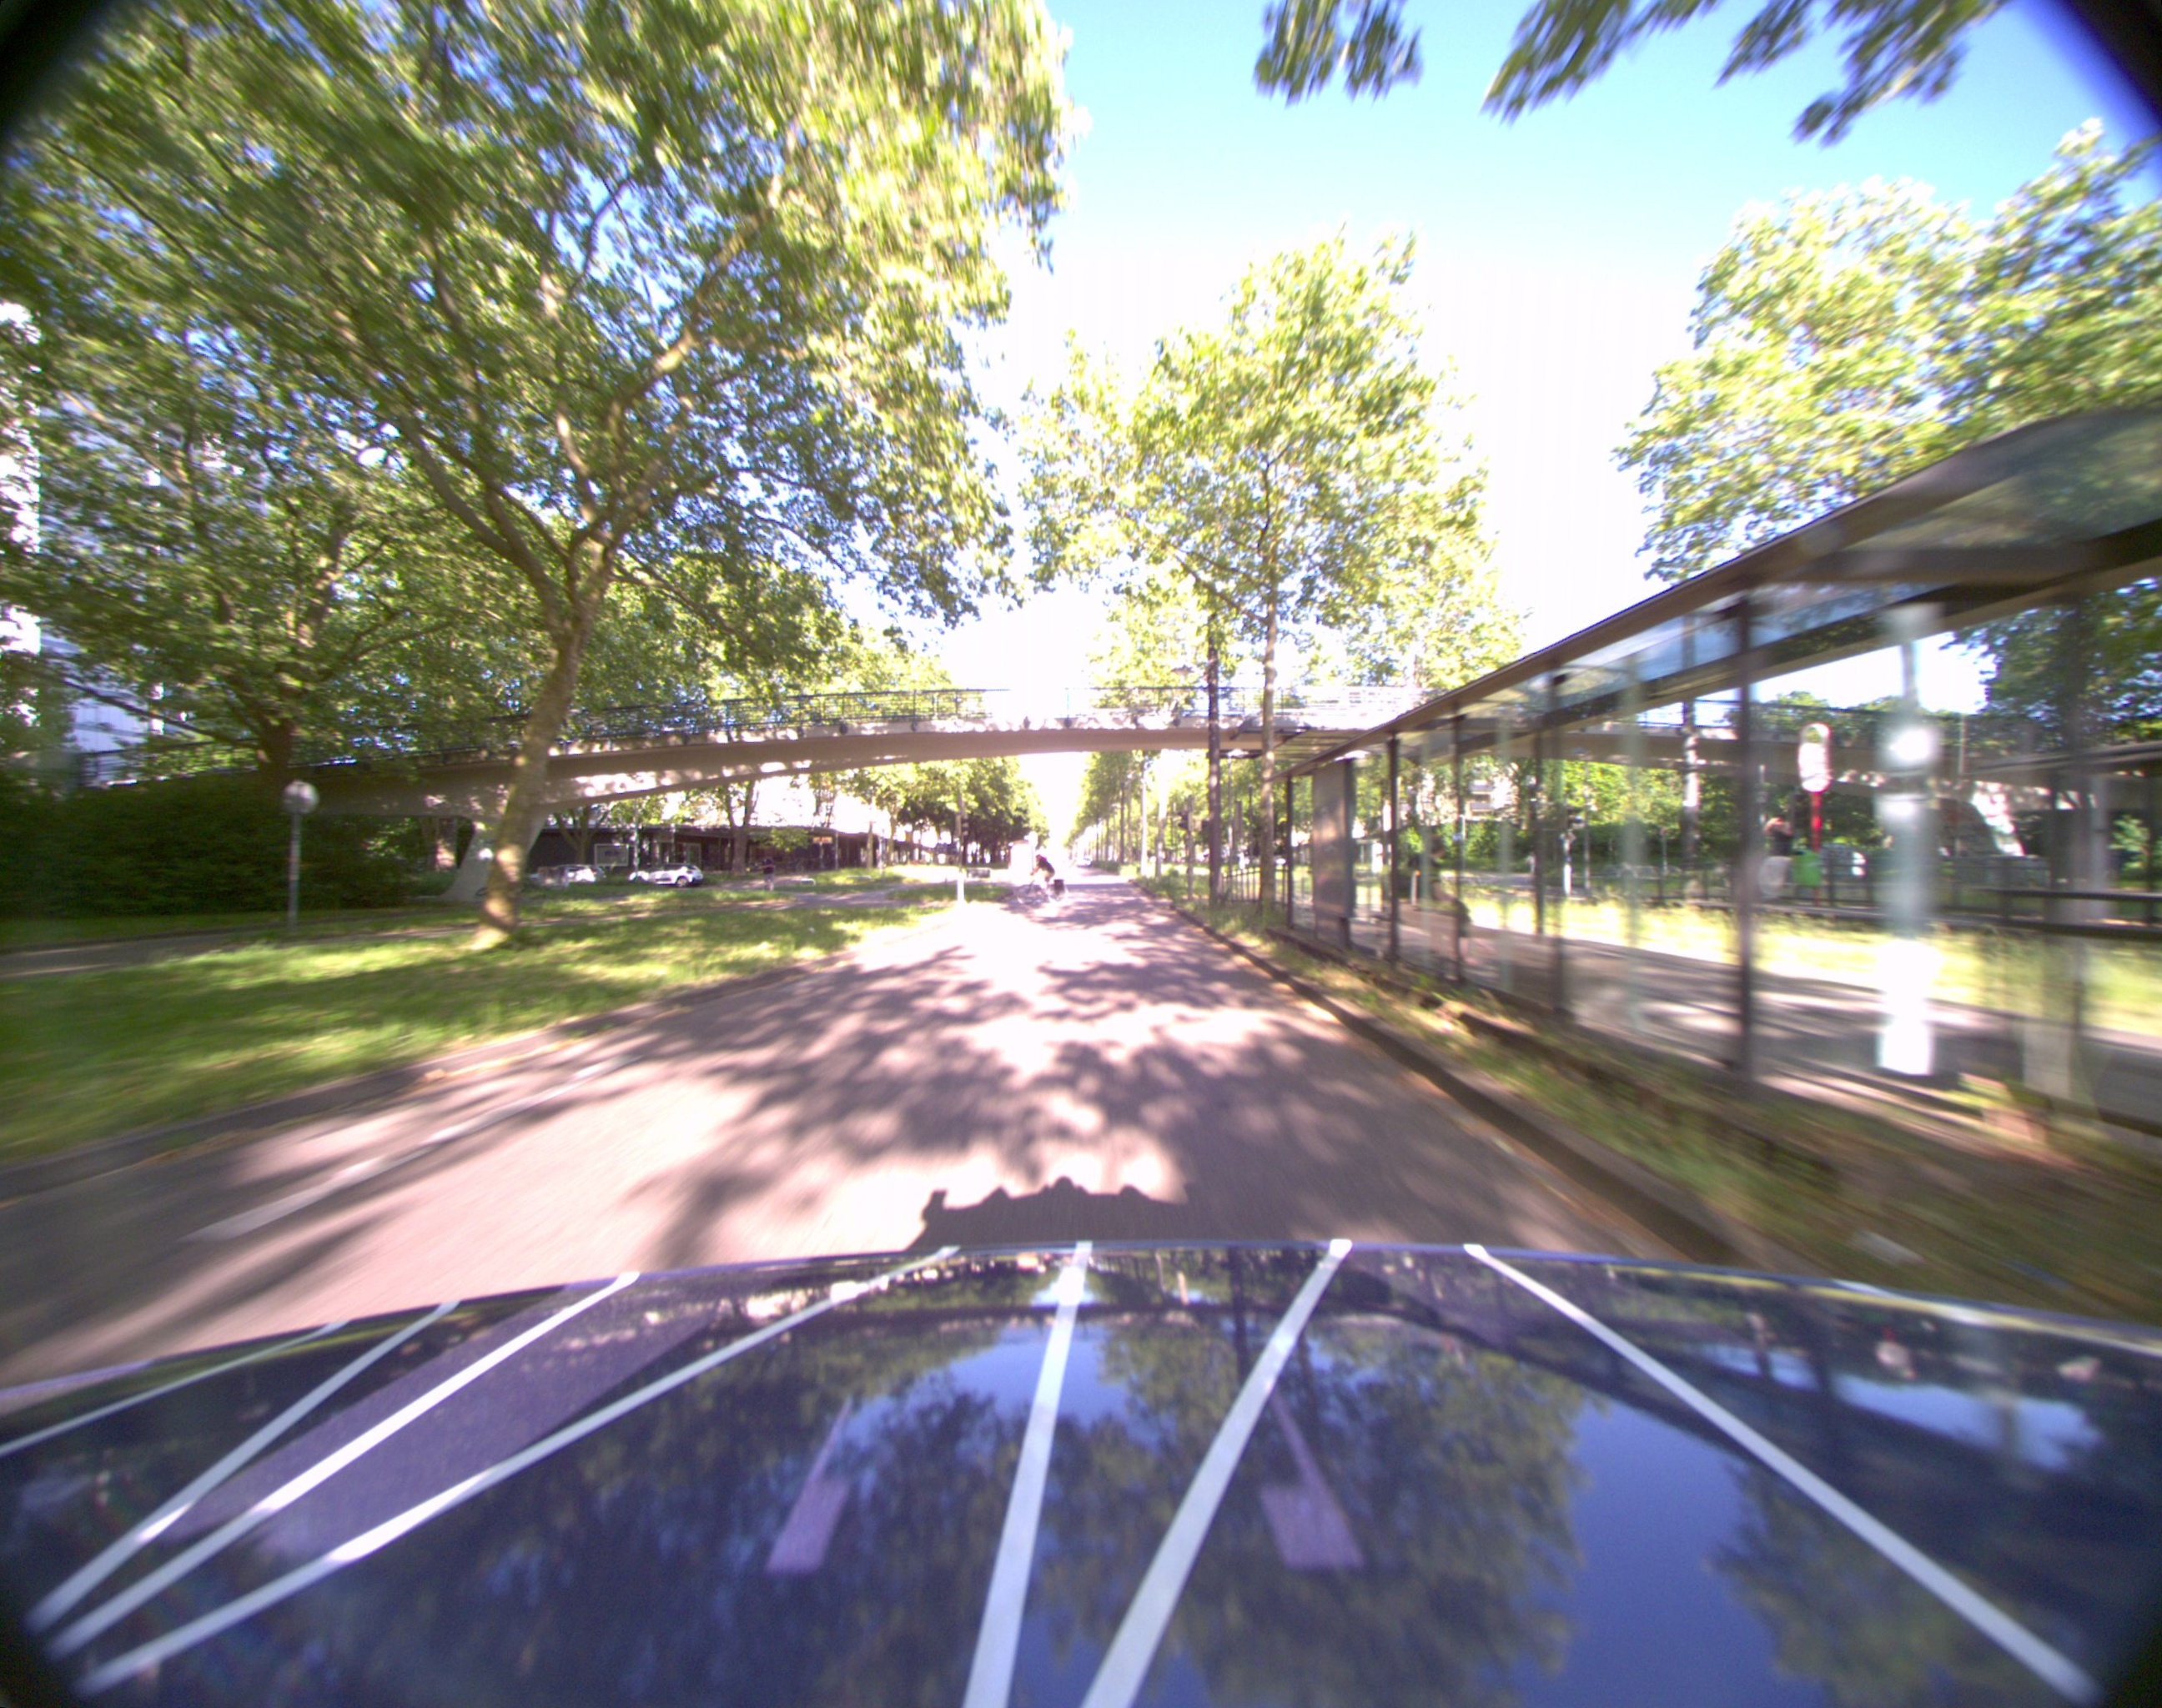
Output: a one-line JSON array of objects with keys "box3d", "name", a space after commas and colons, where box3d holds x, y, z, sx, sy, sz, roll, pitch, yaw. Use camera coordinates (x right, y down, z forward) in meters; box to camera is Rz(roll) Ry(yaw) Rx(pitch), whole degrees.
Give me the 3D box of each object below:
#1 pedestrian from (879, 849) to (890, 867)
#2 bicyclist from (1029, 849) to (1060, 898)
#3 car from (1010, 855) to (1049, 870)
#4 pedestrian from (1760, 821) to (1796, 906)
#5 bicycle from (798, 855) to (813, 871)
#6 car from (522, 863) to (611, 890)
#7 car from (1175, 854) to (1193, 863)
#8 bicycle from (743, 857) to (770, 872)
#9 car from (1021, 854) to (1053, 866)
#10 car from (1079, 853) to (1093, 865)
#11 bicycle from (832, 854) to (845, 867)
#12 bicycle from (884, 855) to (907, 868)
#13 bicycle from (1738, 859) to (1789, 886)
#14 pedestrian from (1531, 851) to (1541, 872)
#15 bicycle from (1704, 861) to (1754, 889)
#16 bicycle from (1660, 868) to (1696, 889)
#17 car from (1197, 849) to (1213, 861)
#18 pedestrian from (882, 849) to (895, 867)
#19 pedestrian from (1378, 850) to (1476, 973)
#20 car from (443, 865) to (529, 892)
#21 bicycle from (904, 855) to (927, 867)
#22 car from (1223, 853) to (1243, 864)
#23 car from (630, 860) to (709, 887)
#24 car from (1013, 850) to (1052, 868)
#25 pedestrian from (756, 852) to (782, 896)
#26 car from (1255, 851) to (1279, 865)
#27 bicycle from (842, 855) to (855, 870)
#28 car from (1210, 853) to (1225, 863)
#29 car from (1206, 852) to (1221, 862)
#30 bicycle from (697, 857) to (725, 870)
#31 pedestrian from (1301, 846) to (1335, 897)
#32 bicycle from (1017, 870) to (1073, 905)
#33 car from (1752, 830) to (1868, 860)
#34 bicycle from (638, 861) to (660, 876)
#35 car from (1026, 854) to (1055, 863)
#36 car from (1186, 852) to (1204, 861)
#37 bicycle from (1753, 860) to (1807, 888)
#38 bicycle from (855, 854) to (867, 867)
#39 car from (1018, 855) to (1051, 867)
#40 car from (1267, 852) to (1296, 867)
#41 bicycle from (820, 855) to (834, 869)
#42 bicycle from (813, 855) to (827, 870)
[{"box3d": [-19.315, 0.389, 74.615, 0.967, 1.830, 0.952, 0, 1, -9], "name": "pedestrian"}, {"box3d": [-1.239, 0.661, 25.775, 0.956, 1.622, 0.815, -1, 0, 3], "name": "bicyclist"}, {"box3d": [-5.162, 0.880, 76.968, 3.838, 1.464, 1.514, 1, 0, -44], "name": "car"}, {"box3d": [14.664, 0.196, 15.981, 0.504, 1.760, 0.483, -3, 1, -40], "name": "pedestrian"}, {"box3d": [-22.255, 0.746, 61.451, 0.577, 1.246, 1.806, -2, 1, -1], "name": "bicycle"}, {"box3d": [-30.379, 1.347, 44.961, 3.986, 1.486, 1.667, -1, -2, -11], "name": "car"}, {"box3d": [21.264, 0.944, 156.374, 1.884, 1.558, 4.007, -1, 1, 35], "name": "car"}, {"box3d": [-25.507, 0.821, 59.693, 1.806, 1.109, 0.710, 0, 2, -7], "name": "bicycle"}, {"box3d": [-5.671, 0.768, 98.260, 1.681, 1.395, 4.096, 1, 0, 42], "name": "car"}, {"box3d": [0.748, 0.735, 113.438, 1.897, 1.623, 4.502, -2, 0, 2], "name": "car"}, {"box3d": [-22.995, 0.620, 72.031, 0.577, 1.246, 1.806, -2, 1, -1], "name": "bicycle"}, {"box3d": [-17.625, 0.710, 72.235, 2.069, 1.151, 0.562, 1, 1, 14], "name": "bicycle"}, {"box3d": [26.220, 0.699, 29.208, 0.435, 1.003, 1.686, -2, 0, 1], "name": "bicycle"}, {"box3d": [32.136, 0.517, 53.627, 0.534, 1.483, 0.588, -1, 1, 26], "name": "pedestrian"}, {"box3d": [24.361, 0.768, 28.577, 0.435, 1.003, 1.686, -2, 0, 1], "name": "bicycle"}, {"box3d": [22.936, 0.931, 29.209, 0.435, 0.774, 1.174, -2, 0, 1], "name": "bicycle"}, {"box3d": [21.796, 0.170, 133.685, 1.987, 2.045, 4.277, -5, 1, -2], "name": "car"}, {"box3d": [-18.143, 0.383, 71.651, 1.131, 1.698, 0.732, 0, 1, -9], "name": "pedestrian"}, {"box3d": [3.625, 0.583, 7.999, 0.736, 1.245, 0.587, 0, 1, -5], "name": "pedestrian"}, {"box3d": [-34.710, 1.423, 44.383, 3.590, 1.486, 1.623, -1, -2, -7], "name": "car"}, {"box3d": [-15.520, 0.634, 71.084, 2.073, 1.151, 0.561, 1, 1, -10], "name": "bicycle"}, {"box3d": [22.350, 0.660, 111.515, 1.843, 1.480, 4.178, -4, 0, -2], "name": "car"}, {"box3d": [-24.485, 1.146, 45.261, 3.739, 1.486, 1.710, -1, -2, -2], "name": "car"}, {"box3d": [-5.161, 0.572, 81.230, 3.960, 1.832, 1.763, 1, 0, -45], "name": "car"}, {"box3d": [-12.777, 0.808, 31.099, 0.658, 1.766, 0.741, -1, -1, 38], "name": "pedestrian"}, {"box3d": [22.892, 0.435, 93.652, 1.820, 1.587, 4.189, -4, 1, 0], "name": "car"}, {"box3d": [-21.184, 0.772, 69.216, 0.577, 1.246, 1.806, -2, 1, -1], "name": "bicycle"}, {"box3d": [21.802, 0.638, 121.674, 1.545, 1.480, 3.569, -4, 0, -1], "name": "car"}, {"box3d": [22.085, 0.482, 127.018, 1.754, 1.487, 3.816, -4, 1, -1], "name": "car"}, {"box3d": [-28.926, 0.762, 59.381, 1.806, 0.949, 0.710, 2, 0, -7], "name": "bicycle"}, {"box3d": [7.947, 0.561, 25.515, 0.727, 1.664, 1.048, -2, 1, -3], "name": "pedestrian"}, {"box3d": [-1.206, 1.131, 25.774, 1.835, 1.140, 0.815, -1, 0, 3], "name": "bicycle"}, {"box3d": [49.727, -0.621, 51.888, 6.151, 1.937, 2.224, -1, 1, -5], "name": "car"}, {"box3d": [-30.526, 1.012, 53.761, 0.506, 0.955, 2.193, 0, 3, -6], "name": "bicycle"}, {"box3d": [-6.449, 0.699, 121.537, 1.994, 1.417, 4.687, 1, 0, 43], "name": "car"}, {"box3d": [22.239, 0.410, 148.192, 1.884, 1.558, 4.007, -2, 0, 35], "name": "car"}, {"box3d": [25.795, 0.723, 28.079, 0.435, 1.003, 1.686, -2, 0, 1], "name": "bicycle"}, {"box3d": [-21.444, 0.624, 74.125, 0.577, 1.246, 1.806, -2, 1, -1], "name": "bicycle"}, {"box3d": [-6.428, 0.967, 105.382, 4.312, 1.666, 1.862, -1, 0, -44], "name": "car"}, {"box3d": [22.972, 0.572, 87.234, 1.902, 1.480, 4.626, -4, 1, 0], "name": "car"}, {"box3d": [-22.575, 0.703, 67.520, 0.577, 1.246, 1.806, -2, 1, -1], "name": "bicycle"}, {"box3d": [-22.467, 0.718, 65.445, 0.577, 1.246, 1.806, -2, 1, -1], "name": "bicycle"}]
